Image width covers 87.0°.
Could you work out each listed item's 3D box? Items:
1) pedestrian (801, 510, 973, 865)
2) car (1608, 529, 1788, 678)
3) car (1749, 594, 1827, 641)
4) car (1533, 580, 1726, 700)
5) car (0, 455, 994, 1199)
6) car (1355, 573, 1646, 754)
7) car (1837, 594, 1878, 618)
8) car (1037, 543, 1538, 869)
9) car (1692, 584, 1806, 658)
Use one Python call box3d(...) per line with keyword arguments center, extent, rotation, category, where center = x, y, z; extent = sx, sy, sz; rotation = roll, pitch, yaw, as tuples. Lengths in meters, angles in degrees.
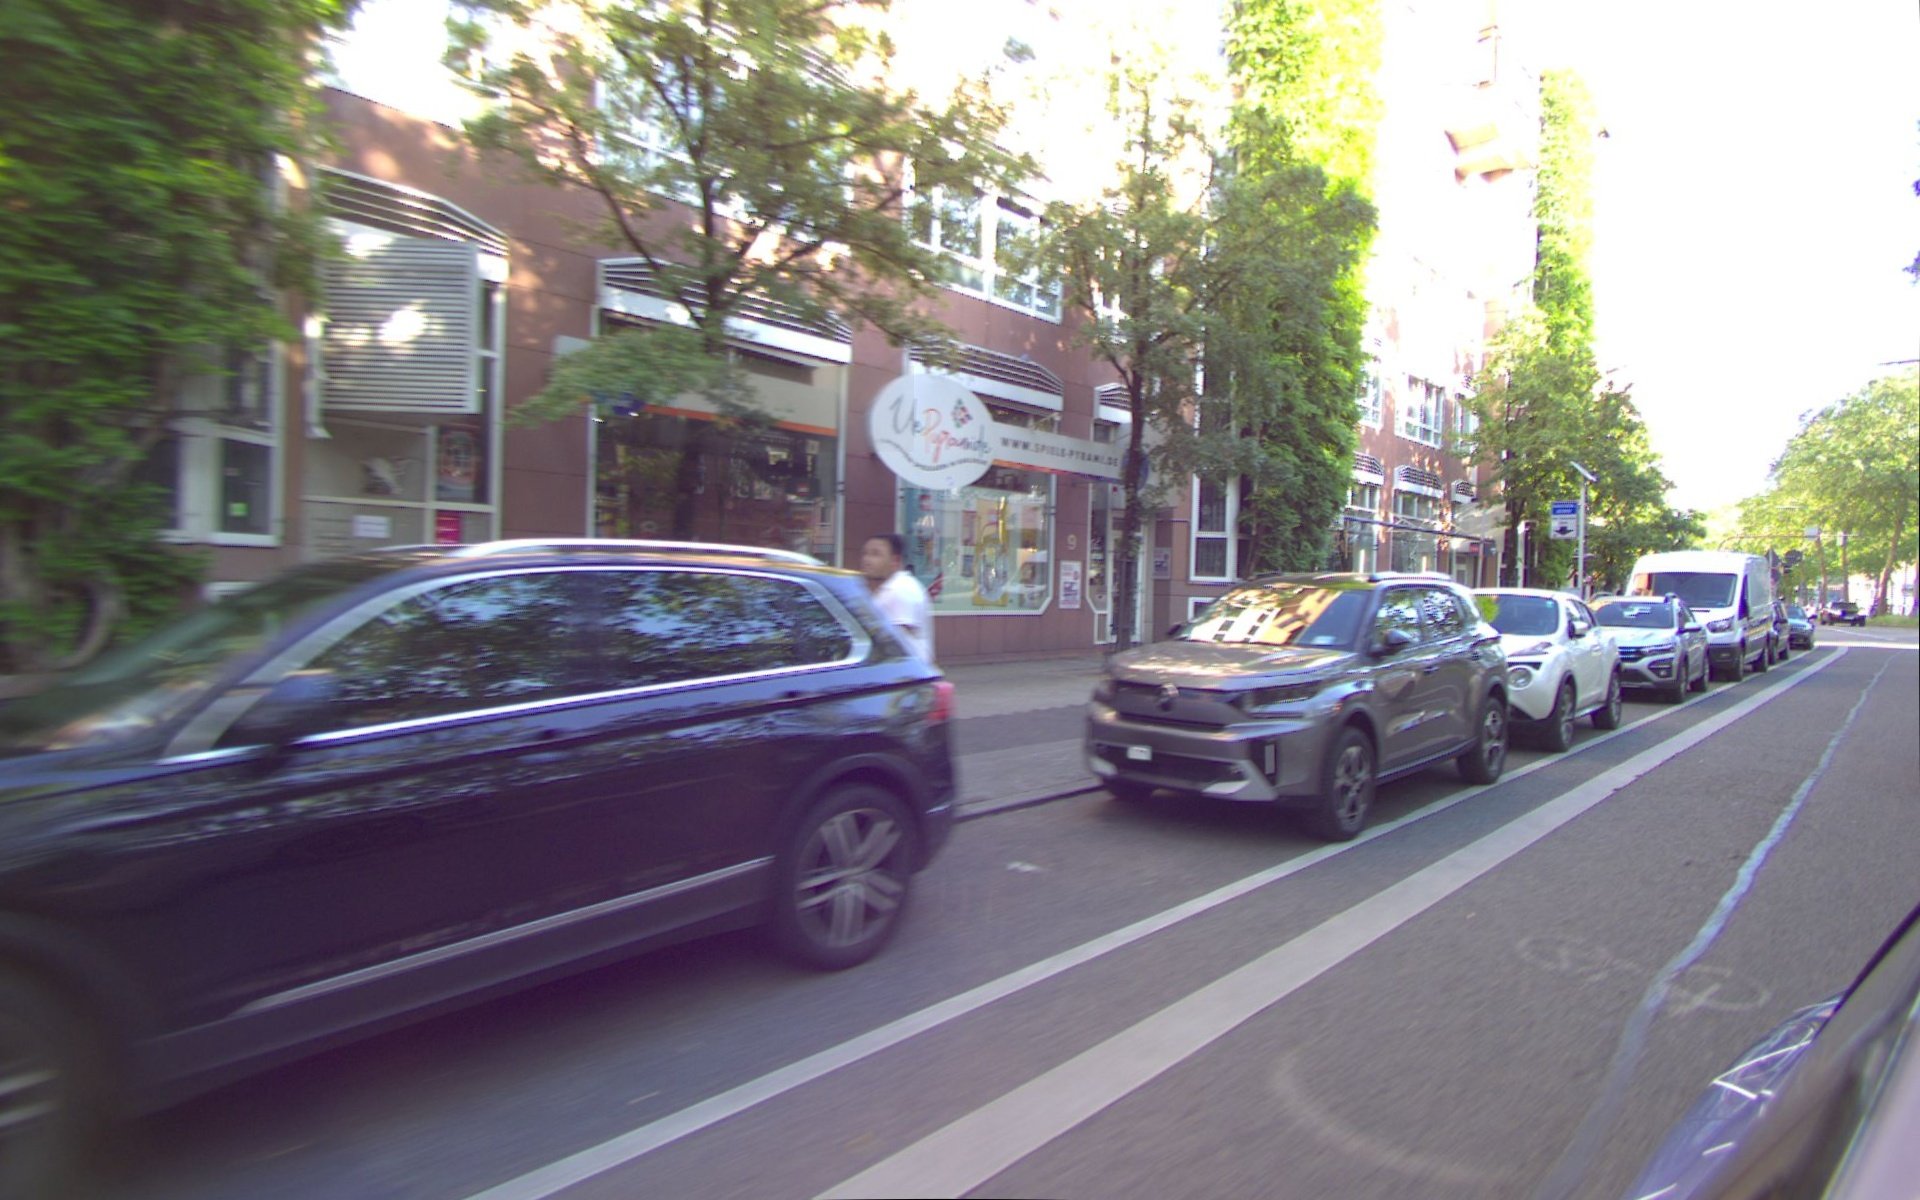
box3d(center=(-0.395, 0.439, 5.666), extent=(0.708, 1.835, 0.658), rotation=(2, 1, 23), category="pedestrian")
box3d(center=(15.065, 0.013, 20.495), extent=(2.116, 2.597, 5.811), rotation=(2, 2, 44), category="car")
box3d(center=(26.285, 0.517, 32.091), extent=(1.802, 1.347, 3.933), rotation=(2, 2, 41), category="car")
box3d(center=(10.483, 0.522, 15.735), extent=(1.829, 1.598, 3.937), rotation=(2, 2, 43), category="car")
box3d(center=(-1.927, 0.513, 3.494), extent=(1.788, 1.691, 4.134), rotation=(2, 2, 43), category="car")
box3d(center=(6.050, 0.544, 11.116), extent=(1.829, 1.598, 3.937), rotation=(2, 2, 43), category="car")
box3d(center=(61.242, 0.407, 69.028), extent=(1.993, 1.552, 3.937), rotation=(0, 1, 44), category="car")
box3d(center=(2.647, 0.515, 7.453), extent=(1.788, 1.691, 4.370), rotation=(2, 2, 43), category="car")
box3d(center=(19.721, 0.458, 25.219), extent=(1.804, 1.647, 4.405), rotation=(2, 2, 43), category="car")
